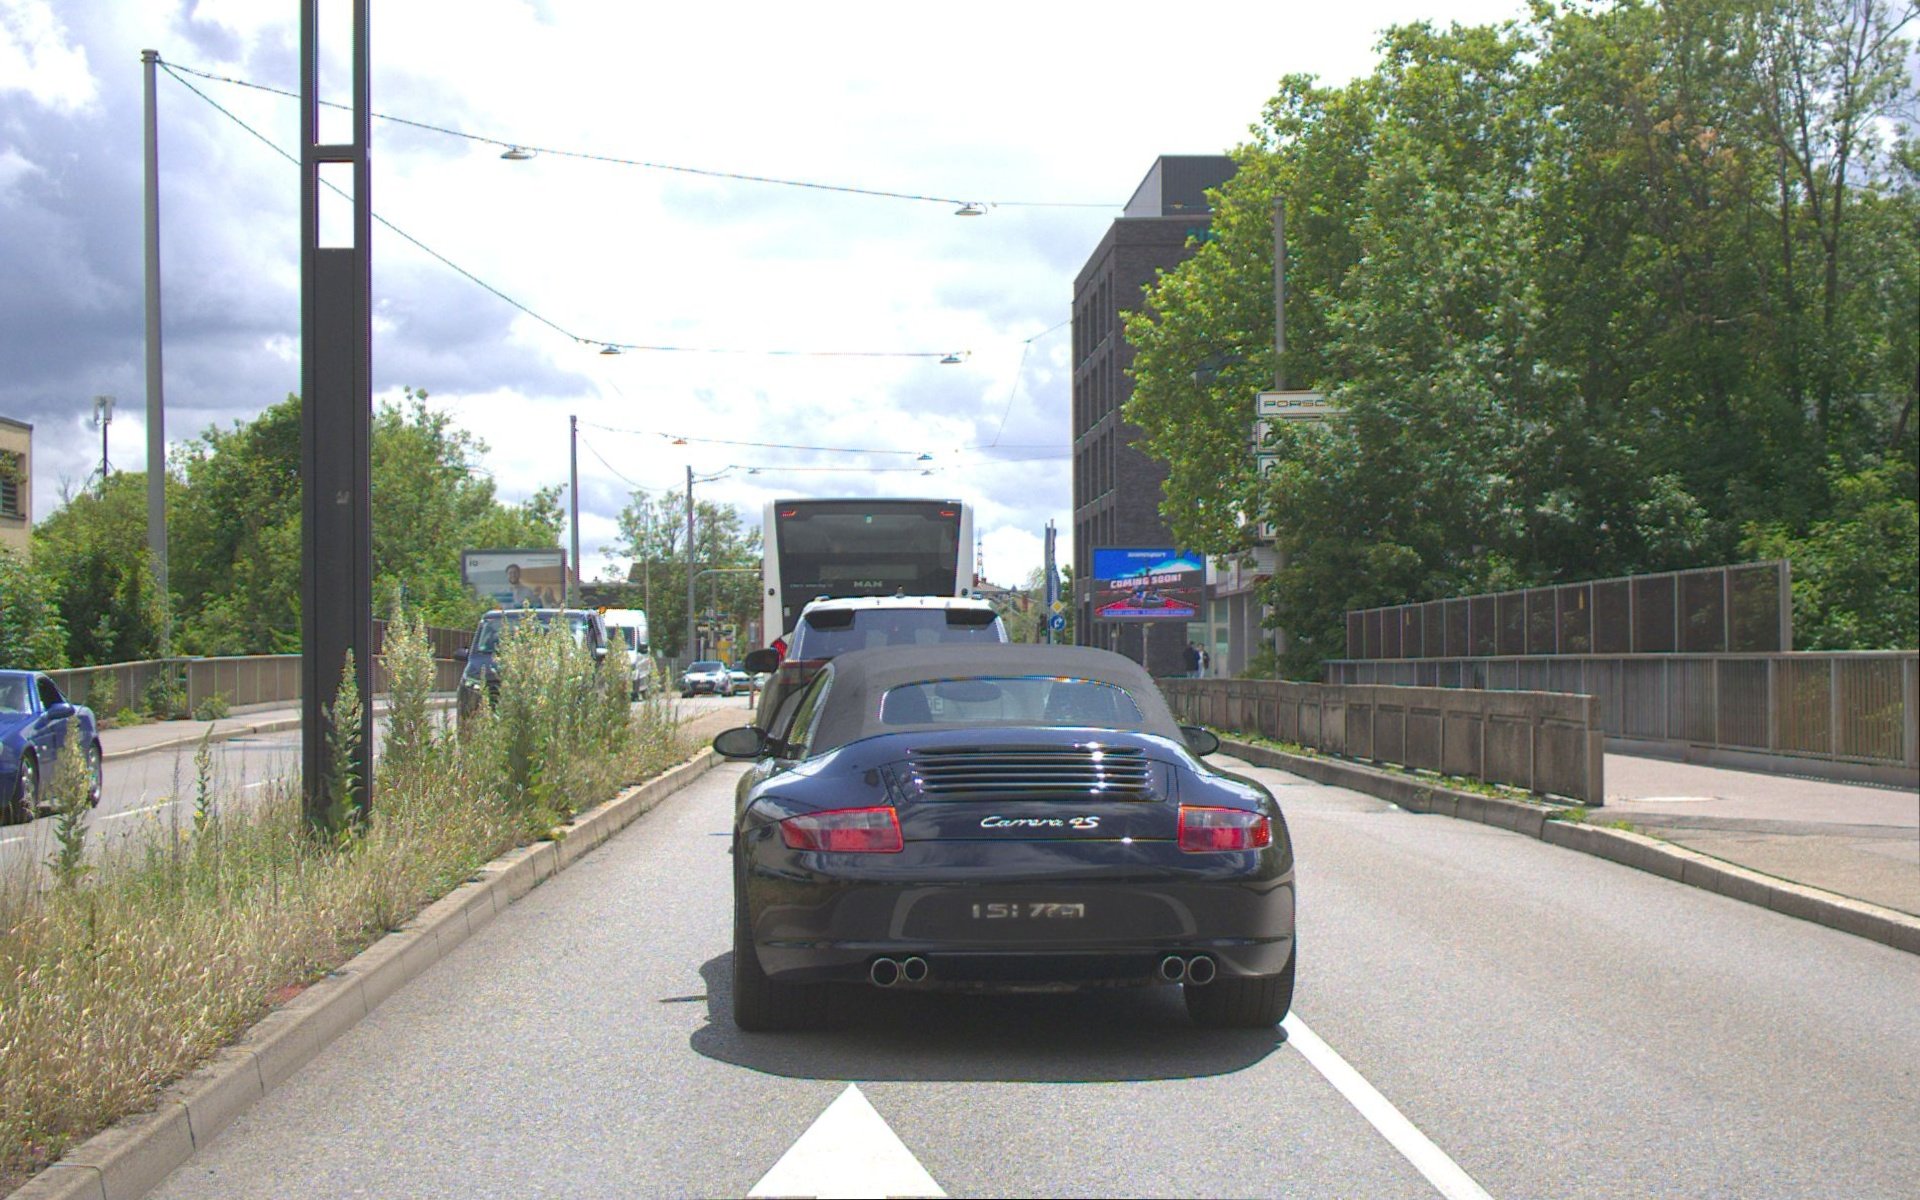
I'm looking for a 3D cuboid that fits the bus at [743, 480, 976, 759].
[{"bbox_3d":[-1.217,0.034,46.680,2.689,3.244,12.058,1,2,0],"label":"bus"}]

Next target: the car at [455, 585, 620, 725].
[{"bbox_3d":[-5.984,0.759,49.142,1.993,1.882,4.869,0,0,-3],"label":"car"}]

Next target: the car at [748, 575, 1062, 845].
[{"bbox_3d":[-0.351,0.652,23.008,1.879,1.588,4.230,1,1,0],"label":"car"}]

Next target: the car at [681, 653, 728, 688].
[{"bbox_3d":[-10.112,2.785,136.244,1.637,1.359,4.194,-1,-1,-1],"label":"car"}]

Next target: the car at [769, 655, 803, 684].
[{"bbox_3d":[-8.874,3.541,175.268,1.628,1.426,4.000,0,-1,-1],"label":"car"}]

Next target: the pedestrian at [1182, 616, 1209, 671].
[{"bbox_3d":[7.250,1.329,105.804,0.681,1.691,0.597,-1,-1,24],"label":"pedestrian"}]

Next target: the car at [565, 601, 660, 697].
[{"bbox_3d":[-9.769,1.391,97.142,2.066,2.562,6.821,-2,-1,-1],"label":"car"}]

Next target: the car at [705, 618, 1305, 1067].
[{"bbox_3d":[-0.009,0.750,12.458,1.719,1.271,4.089,1,1,-6],"label":"car"}]

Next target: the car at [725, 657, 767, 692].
[{"bbox_3d":[-9.776,3.399,157.158,1.810,1.555,4.207,0,-1,-2],"label":"car"}]

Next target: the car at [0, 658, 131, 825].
[{"bbox_3d":[-8.390,1.191,29.143,1.754,1.271,4.000,-3,0,-1],"label":"car"}]
